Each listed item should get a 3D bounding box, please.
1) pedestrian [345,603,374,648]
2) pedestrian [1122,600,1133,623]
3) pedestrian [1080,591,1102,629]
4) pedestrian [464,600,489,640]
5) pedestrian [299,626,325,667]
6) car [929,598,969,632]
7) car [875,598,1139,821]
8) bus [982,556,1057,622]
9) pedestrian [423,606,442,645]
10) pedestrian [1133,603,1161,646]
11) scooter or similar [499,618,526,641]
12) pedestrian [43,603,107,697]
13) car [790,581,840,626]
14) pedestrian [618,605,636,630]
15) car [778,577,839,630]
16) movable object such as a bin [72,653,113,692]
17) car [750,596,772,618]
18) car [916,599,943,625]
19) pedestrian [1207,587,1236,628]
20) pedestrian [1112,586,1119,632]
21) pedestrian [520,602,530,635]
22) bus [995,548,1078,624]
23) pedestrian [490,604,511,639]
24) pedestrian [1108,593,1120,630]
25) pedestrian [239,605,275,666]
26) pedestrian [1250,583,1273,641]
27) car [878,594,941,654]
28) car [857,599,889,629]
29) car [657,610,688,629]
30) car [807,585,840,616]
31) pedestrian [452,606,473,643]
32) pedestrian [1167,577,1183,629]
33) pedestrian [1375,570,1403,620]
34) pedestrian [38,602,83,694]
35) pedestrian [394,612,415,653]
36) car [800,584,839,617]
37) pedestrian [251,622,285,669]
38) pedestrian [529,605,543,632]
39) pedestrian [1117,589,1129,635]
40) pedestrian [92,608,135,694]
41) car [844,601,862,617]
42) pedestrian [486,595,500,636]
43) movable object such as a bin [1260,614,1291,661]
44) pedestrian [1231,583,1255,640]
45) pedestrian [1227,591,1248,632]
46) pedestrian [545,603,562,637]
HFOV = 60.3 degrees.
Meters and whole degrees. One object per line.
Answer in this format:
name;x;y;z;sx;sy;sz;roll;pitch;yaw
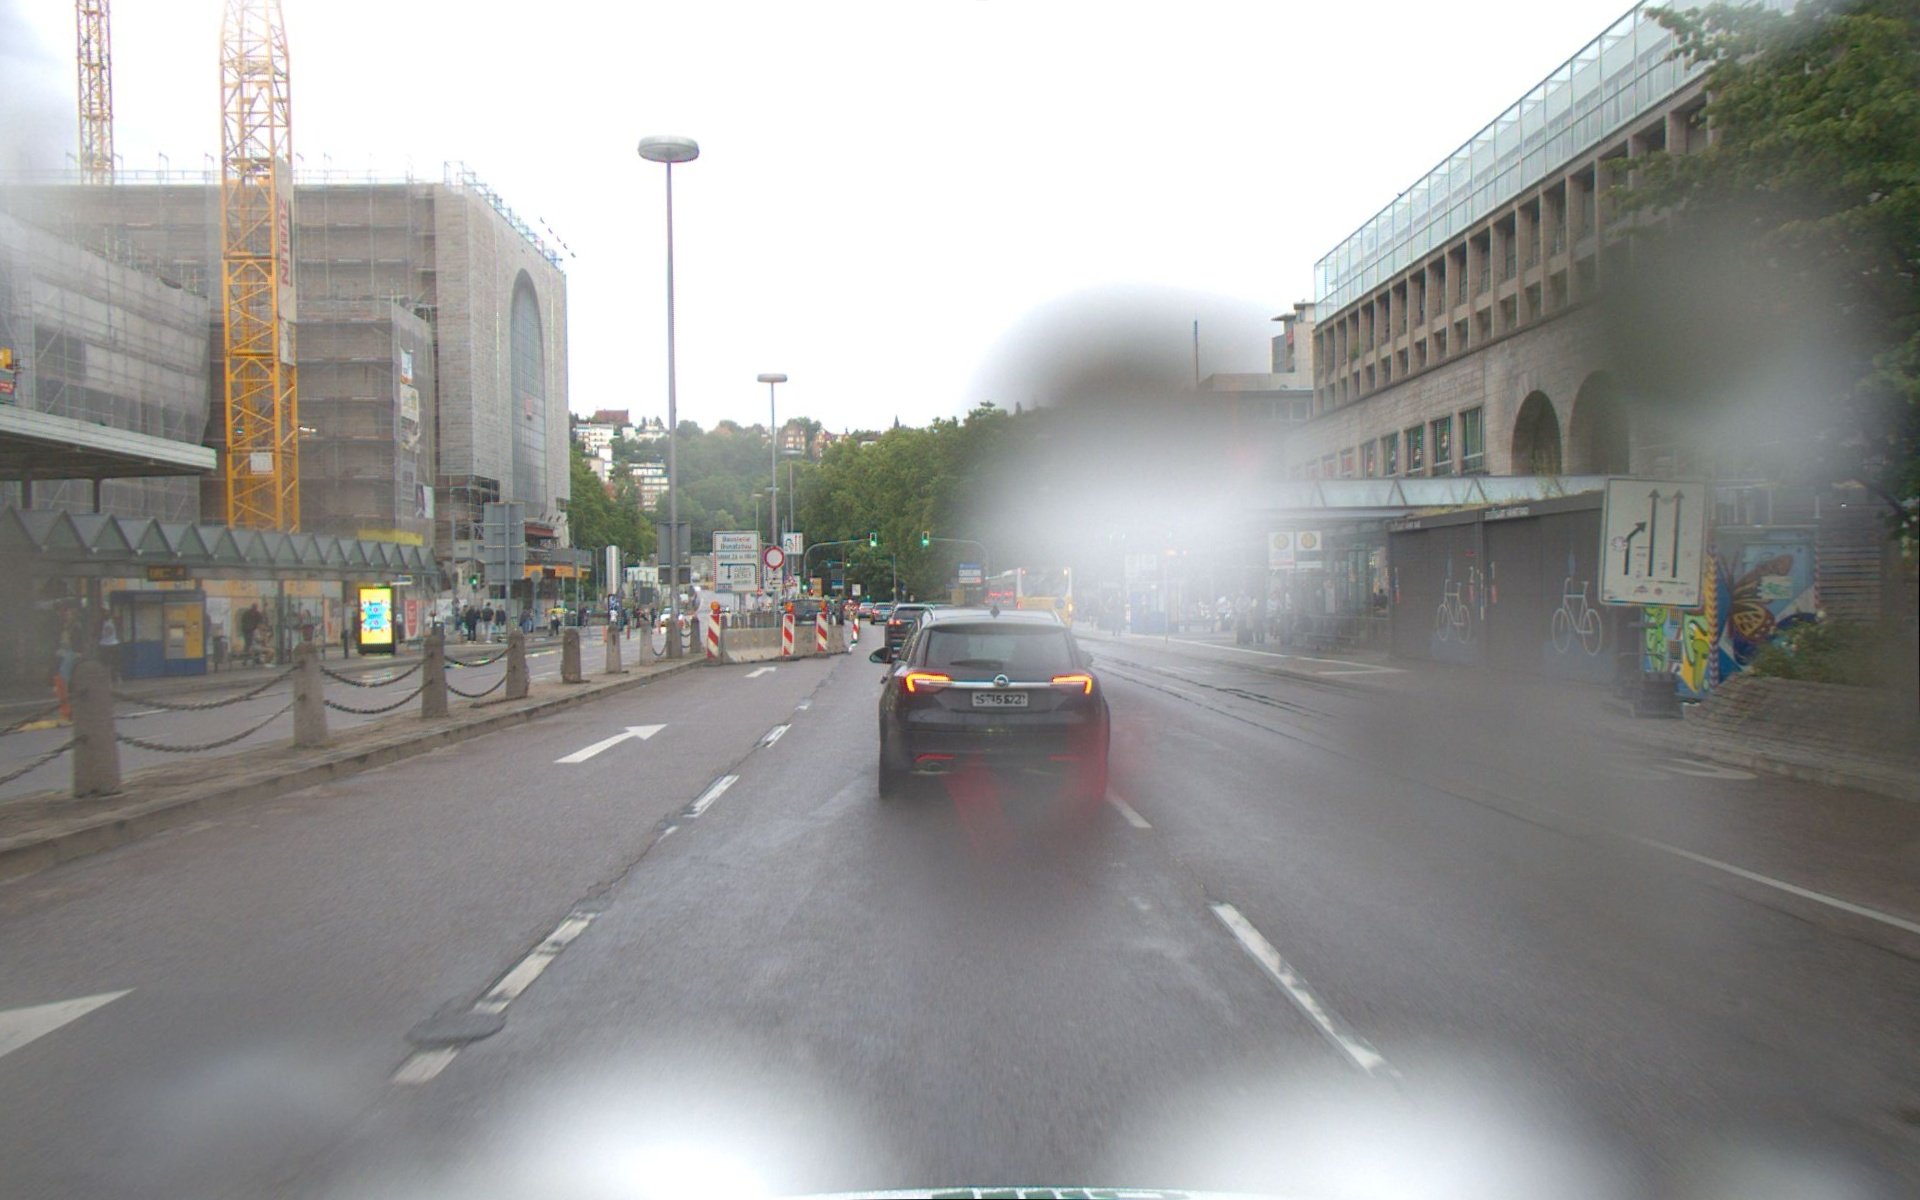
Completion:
pedestrian;-25.347;1.072;69.869;0.840;1.873;1.044;1;0;-3
pedestrian;9.141;0.633;90.525;0.504;1.254;0.770;-1;0;0
pedestrian;6.555;0.510;82.566;0.963;1.869;0.836;0;0;13
pedestrian;-22.559;0.931;77.124;0.688;1.873;0.877;0;0;26
pedestrian;-25.163;1.790;64.225;0.787;1.574;0.700;-1;0;-8
car;-0.611;0.787;86.950;1.816;1.747;3.995;0;0;-5
car;0.282;0.762;14.009;1.839;1.534;4.850;-1;0;-1
bus;2.976;-0.518;86.185;3.051;3.261;9.235;0;0;-3
pedestrian;-25.658;1.246;80.514;0.706;1.873;0.612;-1;0;1
pedestrian;7.651;0.987;67.663;0.749;1.720;0.992;-1;0;-23
scooter or similar;-21.348;1.413;78.937;0.450;1.084;1.237;0;0;32
pedestrian;-17.432;0.969;32.585;0.759;1.821;0.861;-1;0;4
car;-5.968;0.133;68.571;1.954;1.736;4.828;-1;0;-4
pedestrian;-25.156;1.319;124.981;0.962;1.873;1.042;-1;0;18
car;-5.706;0.112;62.985;1.953;1.895;4.831;-1;0;-1
movable object such as a bin;-18.304;1.526;34.897;0.502;0.803;0.630;-2;-1;42
car;-18.686;0.653;155.337;1.956;2.049;5.359;0;0;-8
car;-1.980;0.780;106.917;1.641;1.609;3.237;0;0;-4
pedestrian;11.711;0.343;74.086;0.778;1.836;0.982;-1;0;-31
pedestrian;6.312;0.376;67.221;0.238;1.869;0.512;-1;0;1
pedestrian;-24.769;1.046;94.154;0.561;1.873;0.701;-1;0;-17
bus;3.445;-0.584;77.033;3.078;3.304;9.130;0;0;-3
pedestrian;-25.247;1.173;90.857;0.822;1.873;1.058;-1;0;1
pedestrian;7.900;0.580;84.757;0.553;1.869;0.569;-1;0;0
pedestrian;-21.859;1.096;51.446;0.729;1.873;0.702;0;0;17
pedestrian;9.686;0.382;53.131;0.614;1.869;0.641;-1;0;-1
car;-1.545;0.698;50.712;1.793;1.715;4.132;-1;0;-2
car;-5.938;0.936;113.011;1.946;2.049;4.363;0;0;-6
car;-23.323;1.562;134.337;1.954;1.493;3.998;0;0;-3
car;-8.244;0.015;99.893;1.955;1.818;4.449;-1;0;-5
pedestrian;-25.486;1.273;84.766;0.786;1.873;0.868;-1;0;1
pedestrian;9.496;0.129;73.088;0.578;2.254;0.587;-1;0;-1
pedestrian;16.343;-0.188;63.011;0.752;1.863;0.745;-1;0;-32
pedestrian;-18.680;0.985;34.346;0.548;1.880;0.674;-1;0;43
pedestrian;-25.603;1.492;76.264;0.727;1.873;0.656;-1;0;1
car;-7.487;0.028;88.412;1.954;1.682;4.637;-1;0;-4
pedestrian;-20.198;1.331;48.295;0.685;1.349;0.805;-1;0;-4
pedestrian;-26.442;1.149;103.129;0.662;1.642;0.838;-1;0;-1
pedestrian;6.604;0.474;66.949;0.340;1.869;0.532;-1;0;25
pedestrian;-18.275;1.089;35.708;0.772;1.821;0.666;-1;0;-30
car;-11.205;0.951;173.568;1.671;1.694;3.704;0;0;-2
pedestrian;-21.495;0.718;76.121;0.498;1.873;0.703;-1;0;-9
movable object such as a bin;11.548;1.360;60.568;0.654;1.681;1.040;-1;0;-25
pedestrian;9.295;0.374;54.298;0.662;1.869;0.574;-1;0;-1
pedestrian;11.862;0.481;70.750;0.733;1.724;0.902;-1;0;0
pedestrian;-23.025;1.132;93.671;0.861;1.873;0.835;-1;0;-17
